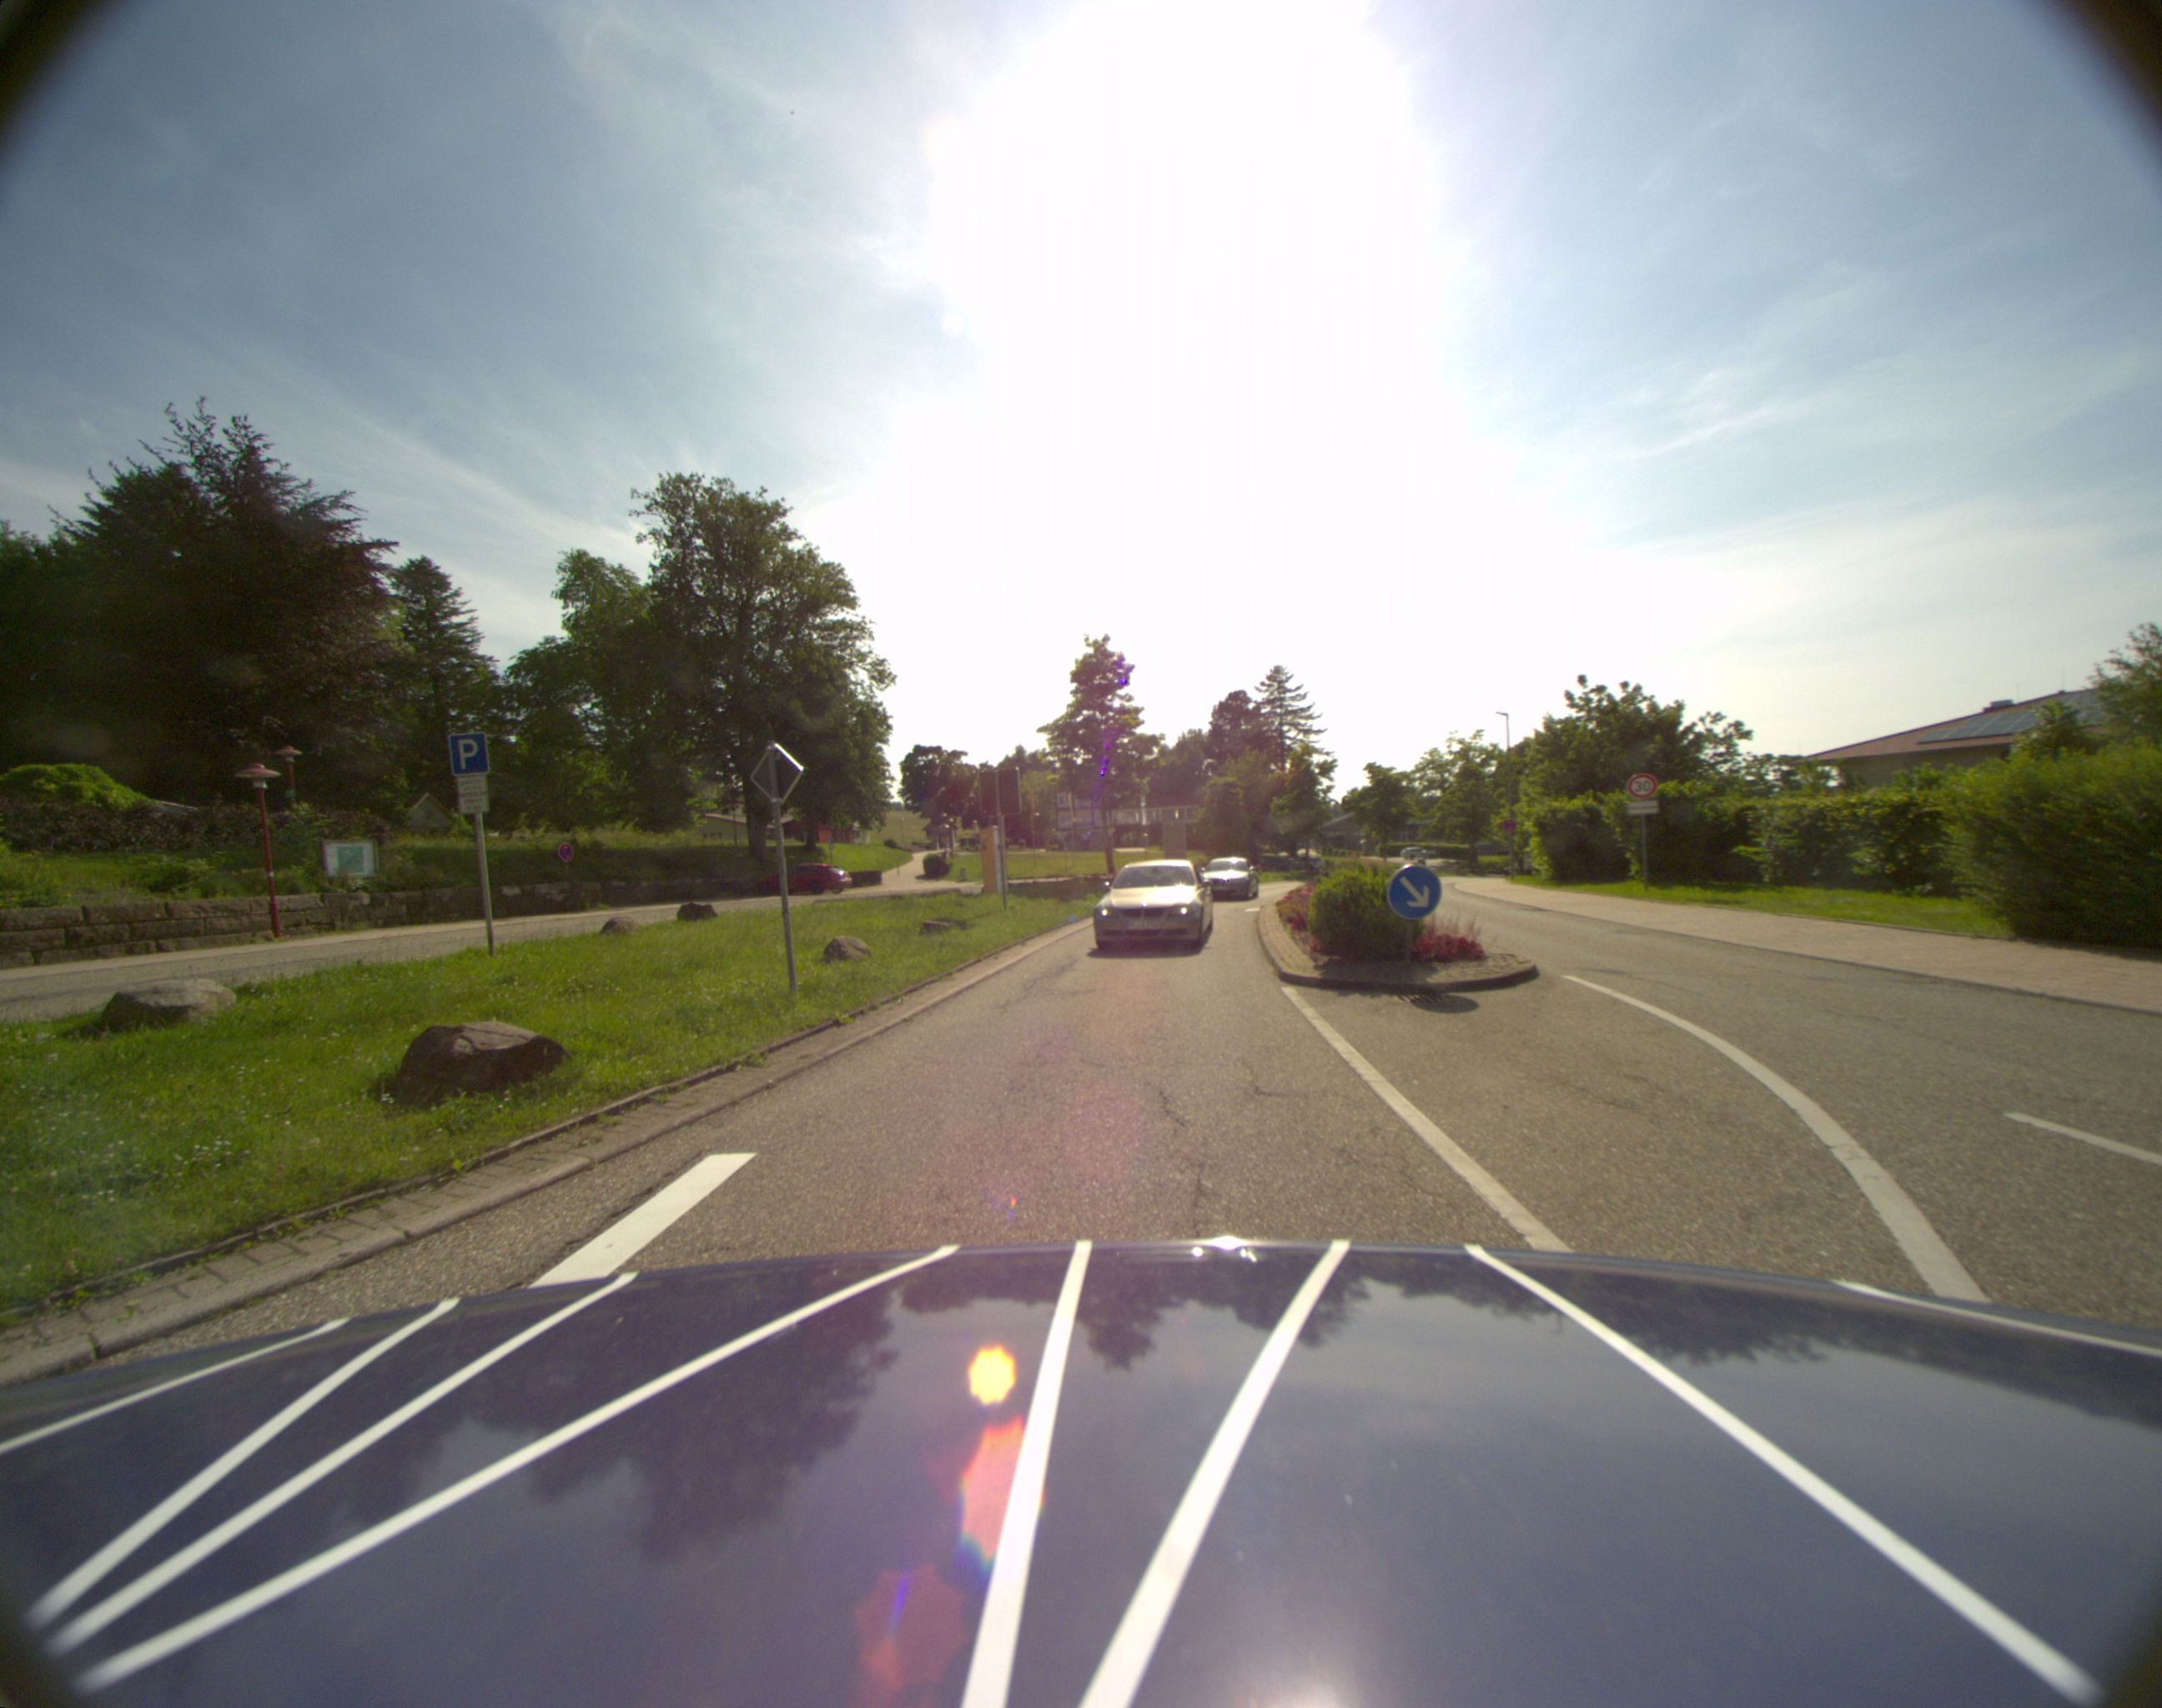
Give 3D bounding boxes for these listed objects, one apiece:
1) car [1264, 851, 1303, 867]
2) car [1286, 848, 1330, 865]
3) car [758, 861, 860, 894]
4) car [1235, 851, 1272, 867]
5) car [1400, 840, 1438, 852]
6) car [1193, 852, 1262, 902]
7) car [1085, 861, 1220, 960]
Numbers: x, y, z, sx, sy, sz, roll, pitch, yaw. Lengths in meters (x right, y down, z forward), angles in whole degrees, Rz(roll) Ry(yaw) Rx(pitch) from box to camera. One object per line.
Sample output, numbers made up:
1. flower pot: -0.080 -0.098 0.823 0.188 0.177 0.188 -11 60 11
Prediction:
1. car: 20.238 0.496 76.057 1.688 1.419 3.530 0 2 -30
2. car: 23.522 0.237 78.775 2.003 1.609 3.989 0 2 -30
3. car: -12.772 1.122 35.721 4.258 1.420 1.704 -1 1 17
4. car: 16.969 0.508 74.748 1.717 1.396 3.303 -2 3 -35
5. car: 45.649 -1.090 102.746 4.366 1.507 1.793 1 2 -2
6. car: 5.184 0.740 26.524 1.900 1.499 4.004 2 2 17
7. car: 1.490 0.883 13.905 1.836 1.360 4.585 0 1 13
